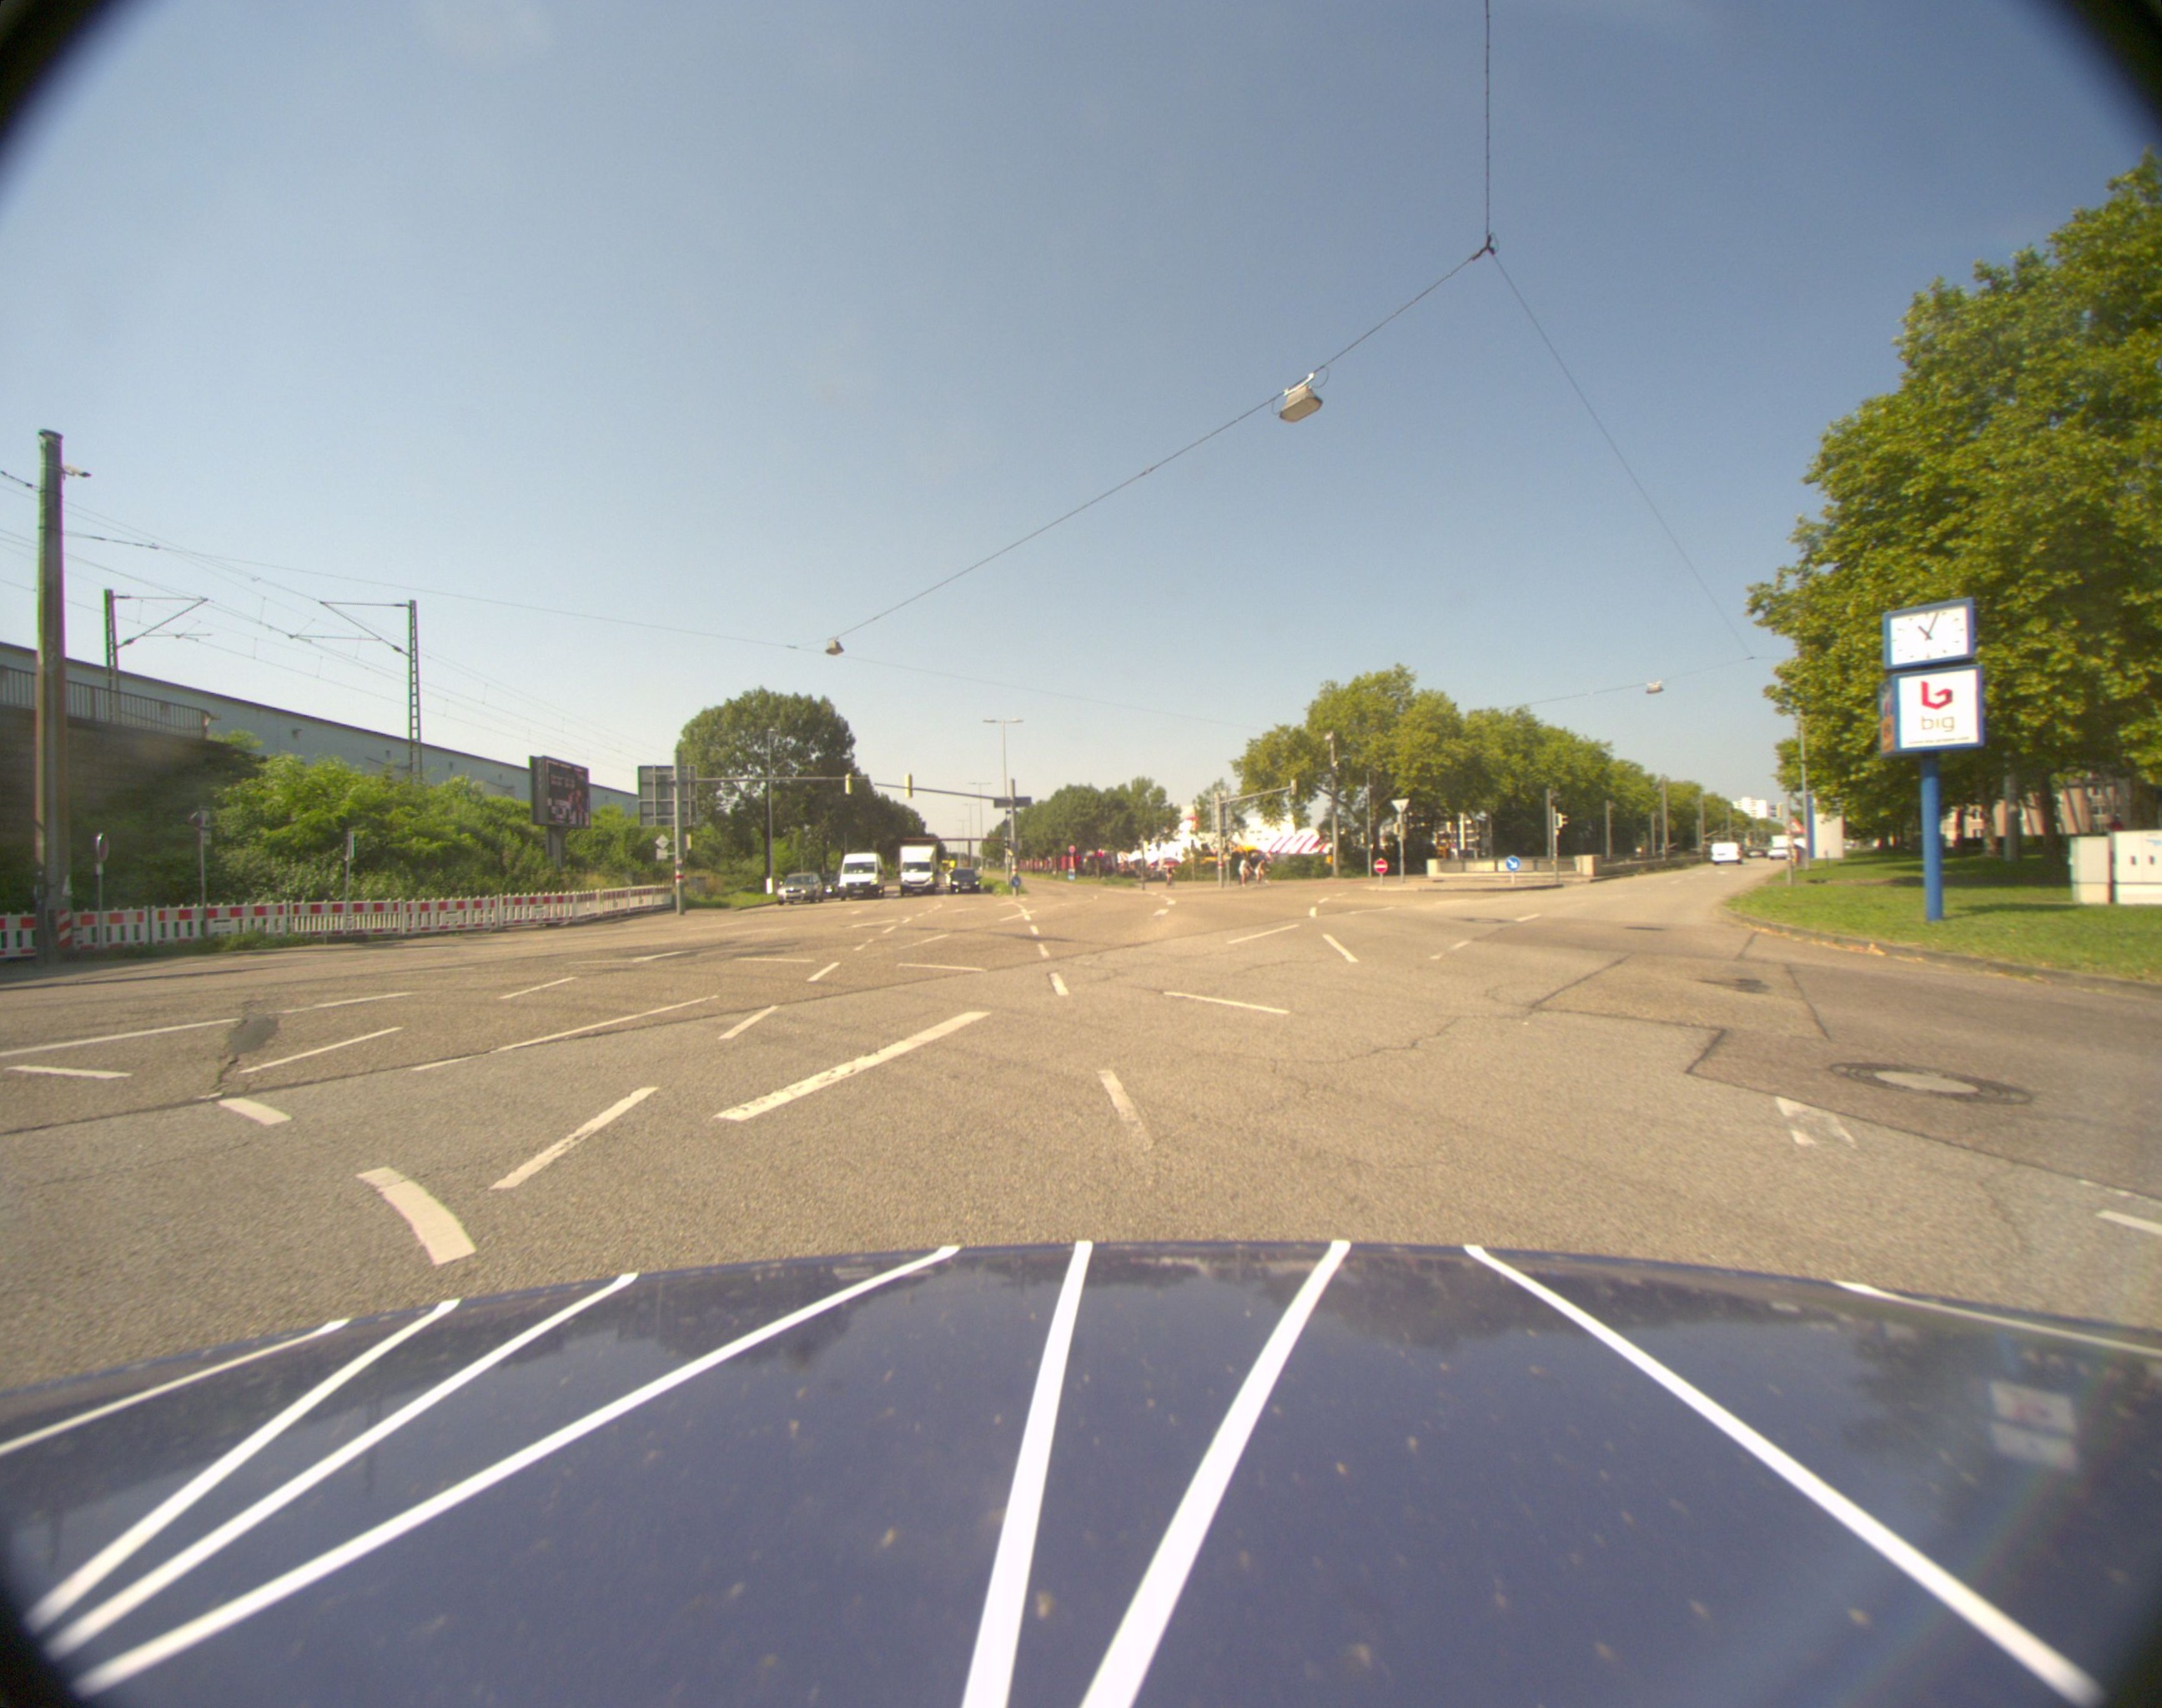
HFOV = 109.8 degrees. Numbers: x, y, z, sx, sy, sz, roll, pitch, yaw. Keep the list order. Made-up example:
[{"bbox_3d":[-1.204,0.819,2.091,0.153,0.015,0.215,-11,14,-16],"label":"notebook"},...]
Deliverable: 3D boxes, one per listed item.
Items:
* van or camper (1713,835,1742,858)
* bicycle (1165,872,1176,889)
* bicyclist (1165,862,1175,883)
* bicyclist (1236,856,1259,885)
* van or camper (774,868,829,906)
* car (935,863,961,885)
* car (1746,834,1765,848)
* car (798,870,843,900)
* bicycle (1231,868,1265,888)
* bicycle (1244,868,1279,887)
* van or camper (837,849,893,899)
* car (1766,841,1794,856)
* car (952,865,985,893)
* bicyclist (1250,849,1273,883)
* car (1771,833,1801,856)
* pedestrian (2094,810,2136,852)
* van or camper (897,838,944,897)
[{"bbox_3d":[56.551,-0.646,66.500,1.842,1.935,4.958,-1,-1,40],"label":"van or camper"},{"bbox_3d":[6.051,1.783,51.362,0.572,1.049,1.495,-3,-2,11],"label":"bicycle"},{"bbox_3d":[6.021,1.265,51.466,0.502,1.356,0.697,-4,-2,12],"label":"bicyclist"},{"bbox_3d":[9.620,0.962,43.934,0.598,1.584,1.203,-3,-2,-22],"label":"bicyclist"},{"bbox_3d":[-14.489,1.729,39.565,1.852,1.765,4.173,-3,-2,-10],"label":"van or camper"},{"bbox_3d":[-11.049,1.702,63.295,1.656,1.654,3.755,-3,-2,-5],"label":"car"},{"bbox_3d":[111.992,-2.139,126.158,1.995,2.001,4.008,-5,-3,39],"label":"car"},{"bbox_3d":[-15.686,1.833,45.957,2.000,1.543,3.996,-3,0,-12],"label":"car"},{"bbox_3d":[9.644,1.390,43.948,0.773,1.081,2.217,-1,-1,-21],"label":"bicycle"},{"bbox_3d":[10.958,1.426,46.131,0.774,1.080,2.258,0,-3,-28],"label":"bicycle"},{"bbox_3d":[-12.213,1.218,43.329,2.250,2.467,6.863,-3,-2,-10],"label":"van or camper"},{"bbox_3d":[74.293,-0.595,80.741,1.995,1.444,4.008,-6,-3,43],"label":"car"},{"bbox_3d":[-7.237,1.678,49.007,1.906,1.603,5.194,-3,-2,-8],"label":"car"},{"bbox_3d":[10.911,0.759,46.039,0.598,2.001,1.203,-3,-1,-26],"label":"bicyclist"},{"bbox_3d":[78.080,-1.046,84.152,2.287,2.219,4.665,-5,-3,43],"label":"car"},{"bbox_3d":[51.469,-1.128,37.847,1.351,2.001,0.947,-2,-3,-44],"label":"pedestrian"},{"bbox_3d":[-9.986,0.929,47.779,2.249,3.341,6.849,-3,-2,-8],"label":"van or camper"}]
